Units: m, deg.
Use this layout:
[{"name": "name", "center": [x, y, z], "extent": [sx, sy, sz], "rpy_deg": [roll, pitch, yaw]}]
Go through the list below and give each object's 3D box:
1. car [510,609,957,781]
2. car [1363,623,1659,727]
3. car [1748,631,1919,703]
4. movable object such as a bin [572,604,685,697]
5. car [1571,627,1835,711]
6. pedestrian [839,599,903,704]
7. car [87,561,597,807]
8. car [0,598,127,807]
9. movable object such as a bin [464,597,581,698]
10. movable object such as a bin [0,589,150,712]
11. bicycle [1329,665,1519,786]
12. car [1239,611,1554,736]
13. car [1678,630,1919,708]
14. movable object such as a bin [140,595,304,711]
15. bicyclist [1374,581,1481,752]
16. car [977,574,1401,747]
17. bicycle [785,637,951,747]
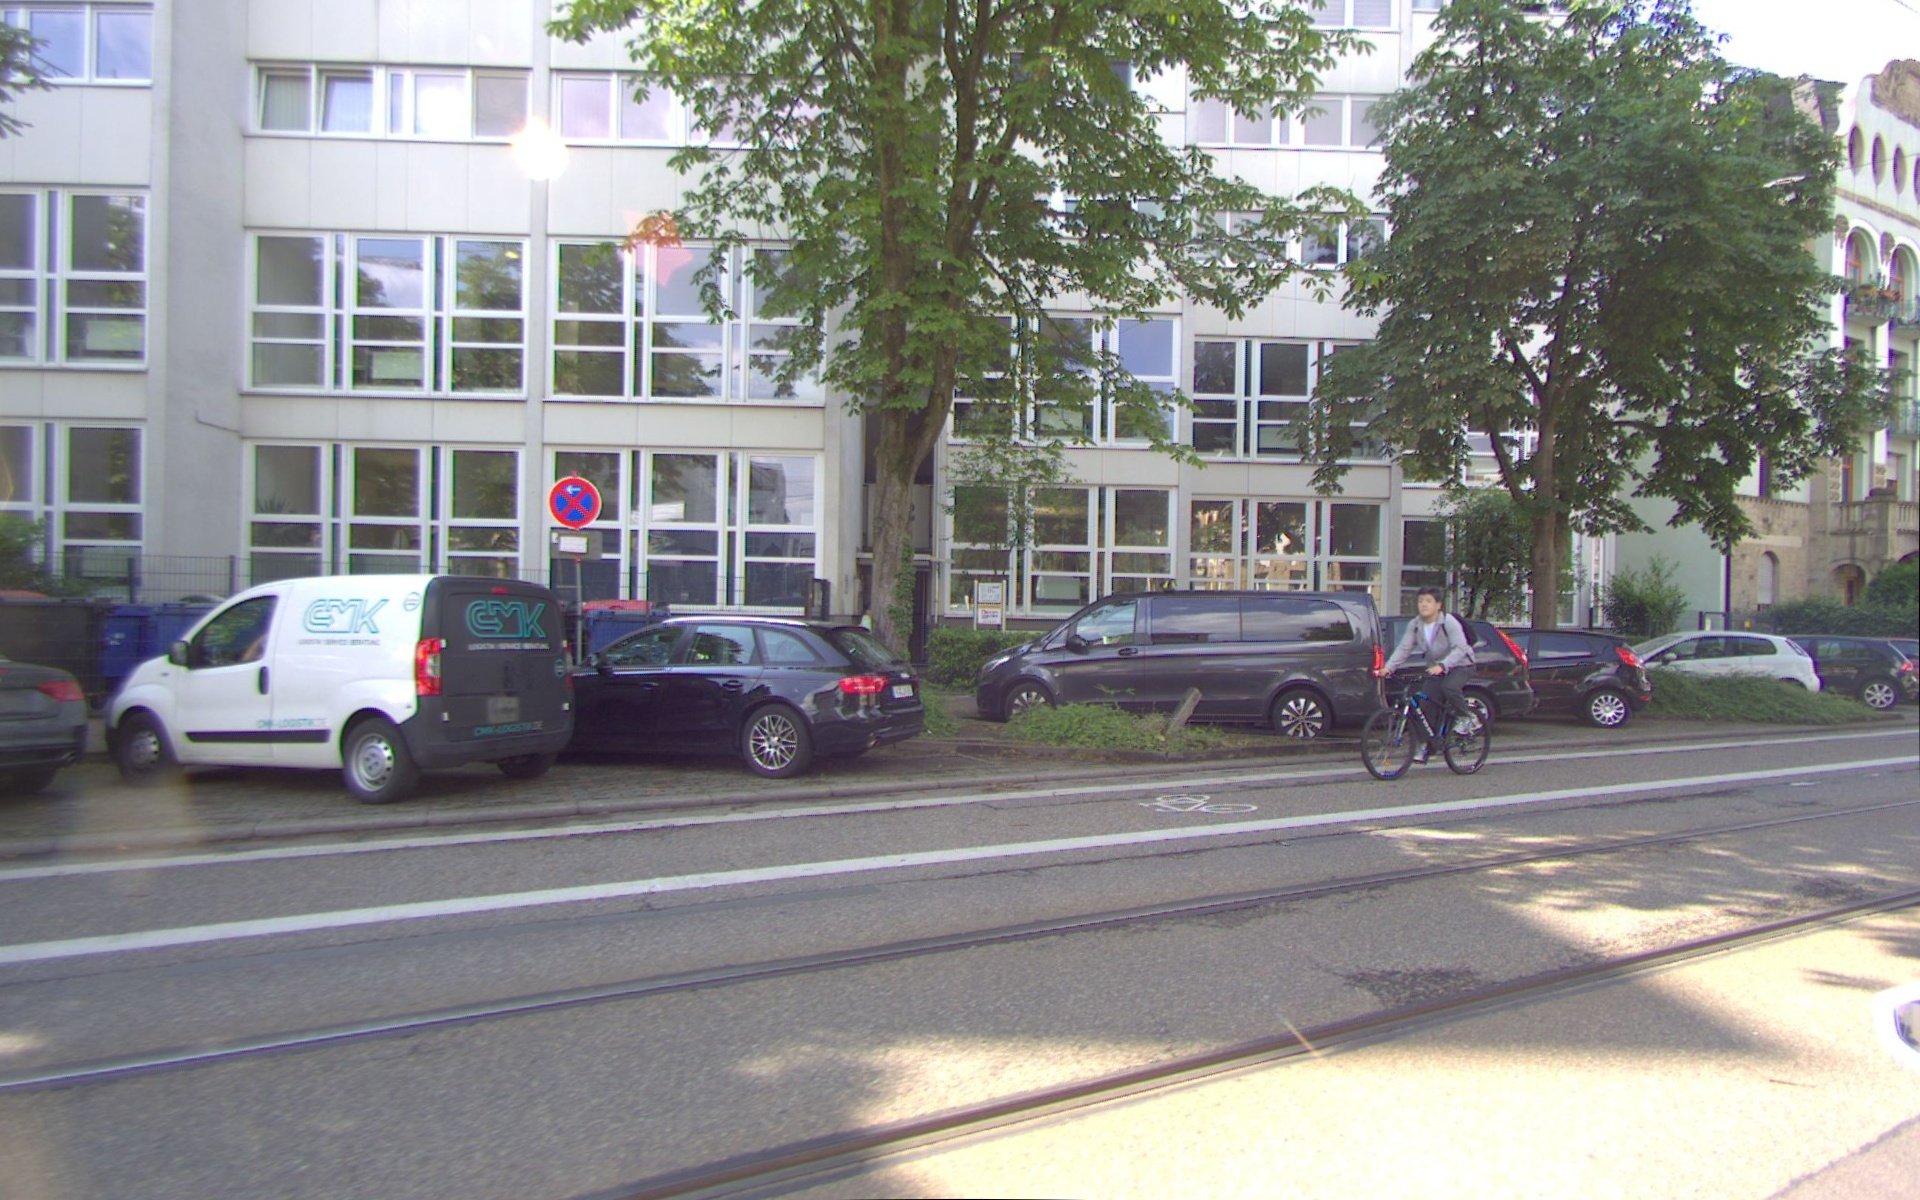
[{"name": "car", "center": [-2.164, 0.854, 9.862], "extent": [3.920, 1.436, 1.761], "rpy_deg": [-1, -2, 17]}, {"name": "car", "center": [8.605, 1.155, 16.102], "extent": [3.922, 1.503, 1.741], "rpy_deg": [-1, -3, 21]}, {"name": "car", "center": [20.043, 1.449, 22.046], "extent": [3.893, 1.503, 1.847], "rpy_deg": [-1, -3, 20]}, {"name": "movable object such as a bin", "center": [-4.948, 0.758, 14.966], "extent": [1.424, 1.300, 1.163], "rpy_deg": [2, -4, -28]}, {"name": "car", "center": [14.246, 1.301, 19.509], "extent": [3.731, 1.503, 1.698], "rpy_deg": [-1, -2, 18]}, {"name": "pedestrian", "center": [-1.401, 0.795, 15.910], "extent": [0.633, 1.597, 0.881], "rpy_deg": [1, -1, 23]}, {"name": "car", "center": [-5.158, 0.646, 8.481], "extent": [3.642, 1.715, 1.761], "rpy_deg": [-1, -2, 20]}, {"name": "car", "center": [-8.519, 0.717, 7.285], "extent": [3.919, 1.436, 1.724], "rpy_deg": [0, -2, 12]}, {"name": "movable object such as a bin", "center": [-6.220, 0.689, 14.263], "extent": [1.424, 1.344, 1.159], "rpy_deg": [2, -4, -28]}, {"name": "movable object such as a bin", "center": [-10.882, 0.613, 12.084], "extent": [1.521, 1.381, 1.380], "rpy_deg": [2, -4, -31]}, {"name": "bicycle", "center": [4.558, 1.181, 9.829], "extent": [1.976, 1.054, 0.652], "rpy_deg": [2, -1, -29]}, {"name": "car", "center": [6.112, 1.010, 14.473], "extent": [3.921, 1.613, 1.741], "rpy_deg": [-1, -2, 19]}, {"name": "car", "center": [17.324, 1.394, 20.771], "extent": [3.735, 1.503, 1.697], "rpy_deg": [-1, -3, 24]}, {"name": "movable object such as a bin", "center": [-9.449, 0.692, 12.980], "extent": [1.521, 1.381, 1.380], "rpy_deg": [2, -4, -31]}, {"name": "bicyclist", "center": [4.576, 0.634, 9.839], "extent": [0.733, 1.597, 0.638], "rpy_deg": [2, -1, -29]}, {"name": "car", "center": [2.922, 0.759, 13.210], "extent": [5.065, 1.980, 1.917], "rpy_deg": [-1, -2, 18]}, {"name": "bicycle", "center": [-1.096, 1.028, 11.679], "extent": [1.966, 1.133, 0.582], "rpy_deg": [0, -1, 34]}]
